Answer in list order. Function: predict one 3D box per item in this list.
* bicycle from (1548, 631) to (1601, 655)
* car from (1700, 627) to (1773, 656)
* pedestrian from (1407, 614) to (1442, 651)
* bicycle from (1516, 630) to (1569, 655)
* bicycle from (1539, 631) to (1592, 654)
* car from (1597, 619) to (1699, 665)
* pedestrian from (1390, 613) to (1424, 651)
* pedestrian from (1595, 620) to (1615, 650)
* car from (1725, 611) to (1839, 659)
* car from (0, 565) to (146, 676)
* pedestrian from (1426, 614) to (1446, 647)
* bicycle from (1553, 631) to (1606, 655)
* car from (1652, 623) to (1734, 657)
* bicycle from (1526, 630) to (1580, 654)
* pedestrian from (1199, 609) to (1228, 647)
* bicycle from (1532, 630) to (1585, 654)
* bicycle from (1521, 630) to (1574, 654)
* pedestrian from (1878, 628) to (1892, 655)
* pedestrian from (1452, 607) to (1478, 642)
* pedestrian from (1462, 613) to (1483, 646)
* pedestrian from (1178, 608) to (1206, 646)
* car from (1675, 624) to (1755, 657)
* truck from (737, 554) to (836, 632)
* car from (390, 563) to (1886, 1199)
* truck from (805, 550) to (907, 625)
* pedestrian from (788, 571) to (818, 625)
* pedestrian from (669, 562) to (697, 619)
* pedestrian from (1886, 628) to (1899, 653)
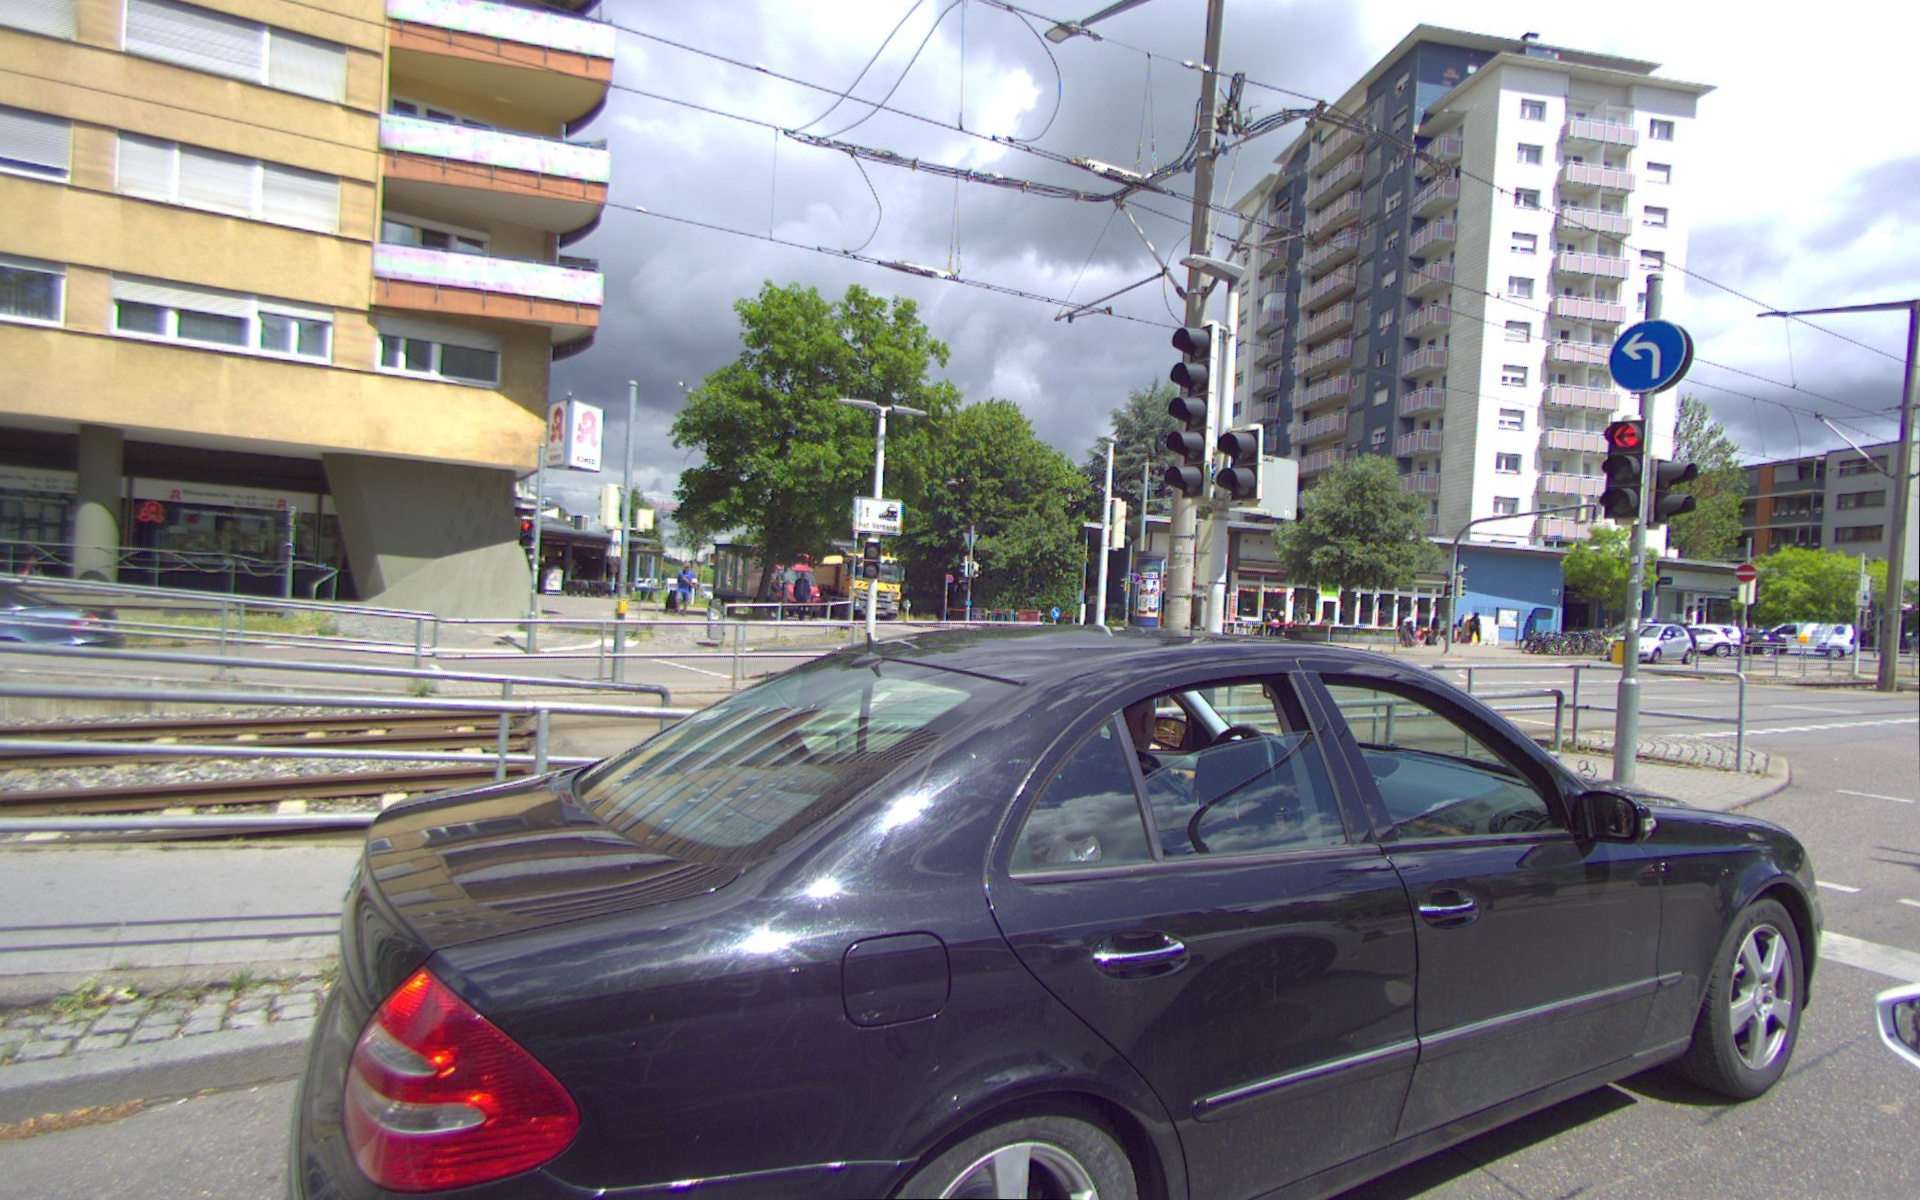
[{"bbox_3d":[26.937,1.866,44.051,0.490,0.947,1.933,2,0,-35],"label":"bicycle"},{"bbox_3d":[43.780,2.296,56.748,1.754,1.439,4.219,2,0,15],"label":"car"},{"bbox_3d":[21.542,1.506,46.603,1.082,1.681,0.943,2,-1,-20],"label":"pedestrian"},{"bbox_3d":[24.745,1.788,42.702,0.490,0.947,1.933,2,0,-35],"label":"bicycle"},{"bbox_3d":[26.376,1.847,43.818,0.490,0.947,1.933,2,0,-35],"label":"bicycle"},{"bbox_3d":[27.589,1.667,40.270,3.827,1.715,1.928,2,0,-30],"label":"car"},{"bbox_3d":[20.471,1.469,46.005,1.082,1.681,0.943,2,-1,-20],"label":"pedestrian"},{"bbox_3d":[35.620,1.919,55.450,0.759,1.637,0.694,2,0,44],"label":"pedestrian"},{"bbox_3d":[48.192,1.976,59.153,2.776,2.511,6.724,2,0,17],"label":"car"},{"bbox_3d":[-13.669,0.218,13.139,4.443,1.418,1.626,2,0,-32],"label":"car"},{"bbox_3d":[23.767,1.526,50.166,0.756,1.637,0.696,2,0,34],"label":"pedestrian"},{"bbox_3d":[27.328,1.880,44.342,0.490,0.947,1.933,2,0,-35],"label":"bicycle"},{"bbox_3d":[38.559,2.078,52.967,1.921,1.591,4.220,2,0,13],"label":"car"},{"bbox_3d":[25.529,1.816,43.265,0.490,0.947,1.933,2,0,-35],"label":"bicycle"},{"bbox_3d":[11.439,1.243,45.270,0.977,1.681,0.969,2,-1,-4],"label":"pedestrian"},{"bbox_3d":[25.914,1.830,43.539,0.490,0.947,1.933,2,0,-35],"label":"bicycle"},{"bbox_3d":[25.120,1.802,42.975,0.490,0.947,1.933,2,0,-35],"label":"bicycle"},{"bbox_3d":[61.343,2.766,66.623,0.663,1.739,0.542,1,0,-40],"label":"pedestrian"},{"bbox_3d":[29.052,1.413,57.798,1.205,1.942,0.857,1,1,-40],"label":"pedestrian"},{"bbox_3d":[26.063,1.500,51.070,0.693,1.637,0.760,1,0,-43],"label":"pedestrian"},{"bbox_3d":[10.407,1.210,45.113,0.977,1.681,0.969,2,-1,-4],"label":"pedestrian"},{"bbox_3d":[41.205,2.172,54.914,1.921,1.558,4.220,2,0,13],"label":"car"},{"bbox_3d":[-8.479,-0.349,47.994,2.692,3.320,8.876,2,0,-23],"label":"truck"},{"bbox_3d":[0.837,0.743,3.098,4.491,1.481,1.720,2,0,-30],"label":"car"},{"bbox_3d":[-5.158,-0.578,48.370,2.733,3.244,7.442,2,0,-23],"label":"truck"},{"bbox_3d":[-5.067,-0.073,32.375,0.752,1.636,0.779,7,1,-9],"label":"pedestrian"},{"bbox_3d":[-8.240,-0.295,29.869,0.754,1.638,0.776,0,4,-19],"label":"pedestrian"},{"bbox_3d":[65.551,2.842,70.605,0.401,1.739,0.542,1,1,-39],"label":"pedestrian"}]
